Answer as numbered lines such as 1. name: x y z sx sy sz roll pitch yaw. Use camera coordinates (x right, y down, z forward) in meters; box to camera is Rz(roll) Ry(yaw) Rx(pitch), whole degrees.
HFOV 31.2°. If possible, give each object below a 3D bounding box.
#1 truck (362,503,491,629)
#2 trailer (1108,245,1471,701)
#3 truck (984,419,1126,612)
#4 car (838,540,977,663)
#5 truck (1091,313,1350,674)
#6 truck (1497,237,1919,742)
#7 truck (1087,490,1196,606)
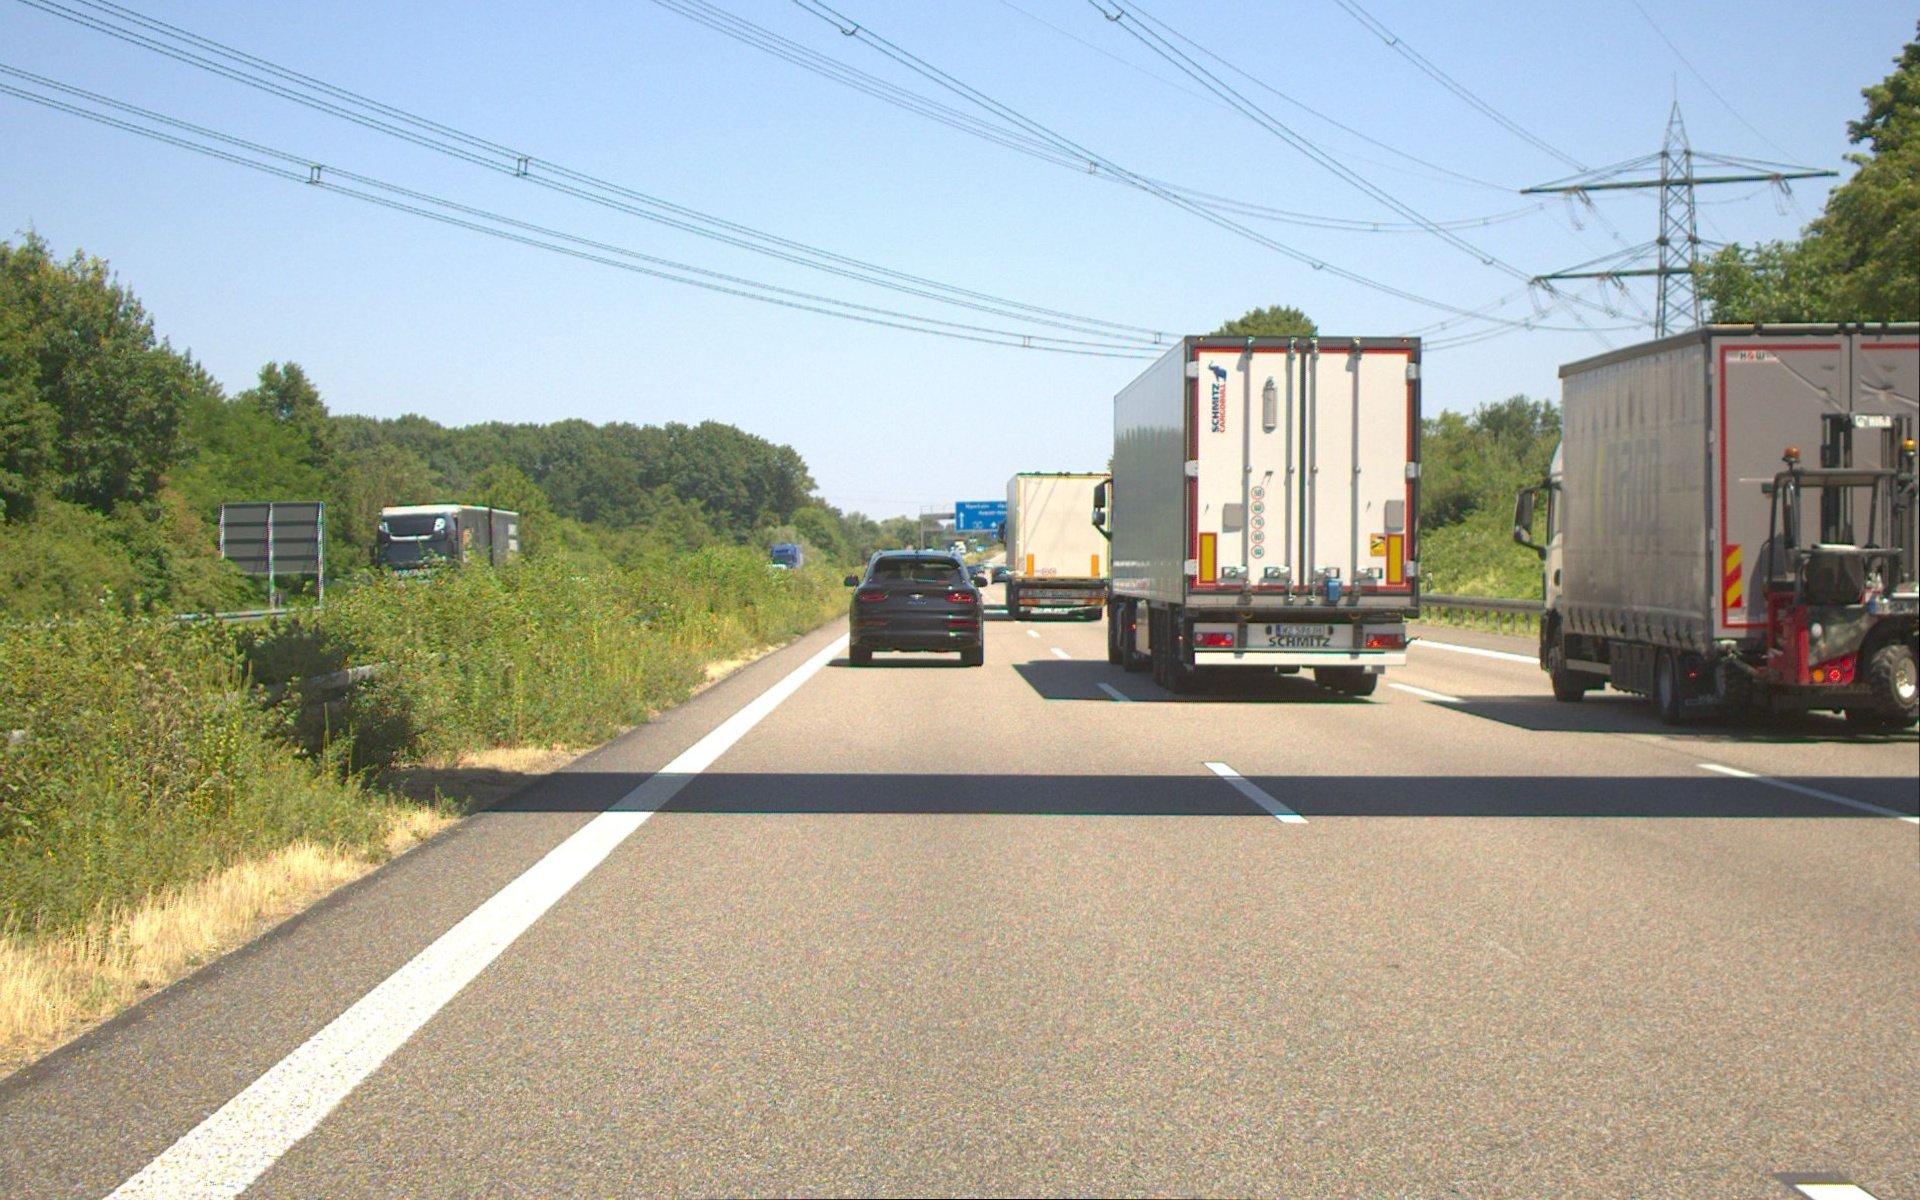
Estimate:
1. truck: -18.267 -1.161 118.295 2.758 4.107 10.216 -1 0 0
2. trailer: 3.824 -1.421 43.296 3.087 4.868 12.258 1 0 -1
3. truck: 2.590 -2.347 97.469 3.512 5.149 10.259 1 1 -1
4. car: -0.833 -0.016 51.814 1.993 1.766 4.000 0 1 -2
5. truck: 3.690 -1.478 50.362 3.087 4.868 6.598 1 0 -1
6. truck: 8.273 -0.954 34.851 3.571 4.230 11.652 1 0 -1
7. truck: 7.329 -2.110 140.749 3.512 4.477 13.251 1 1 -1
